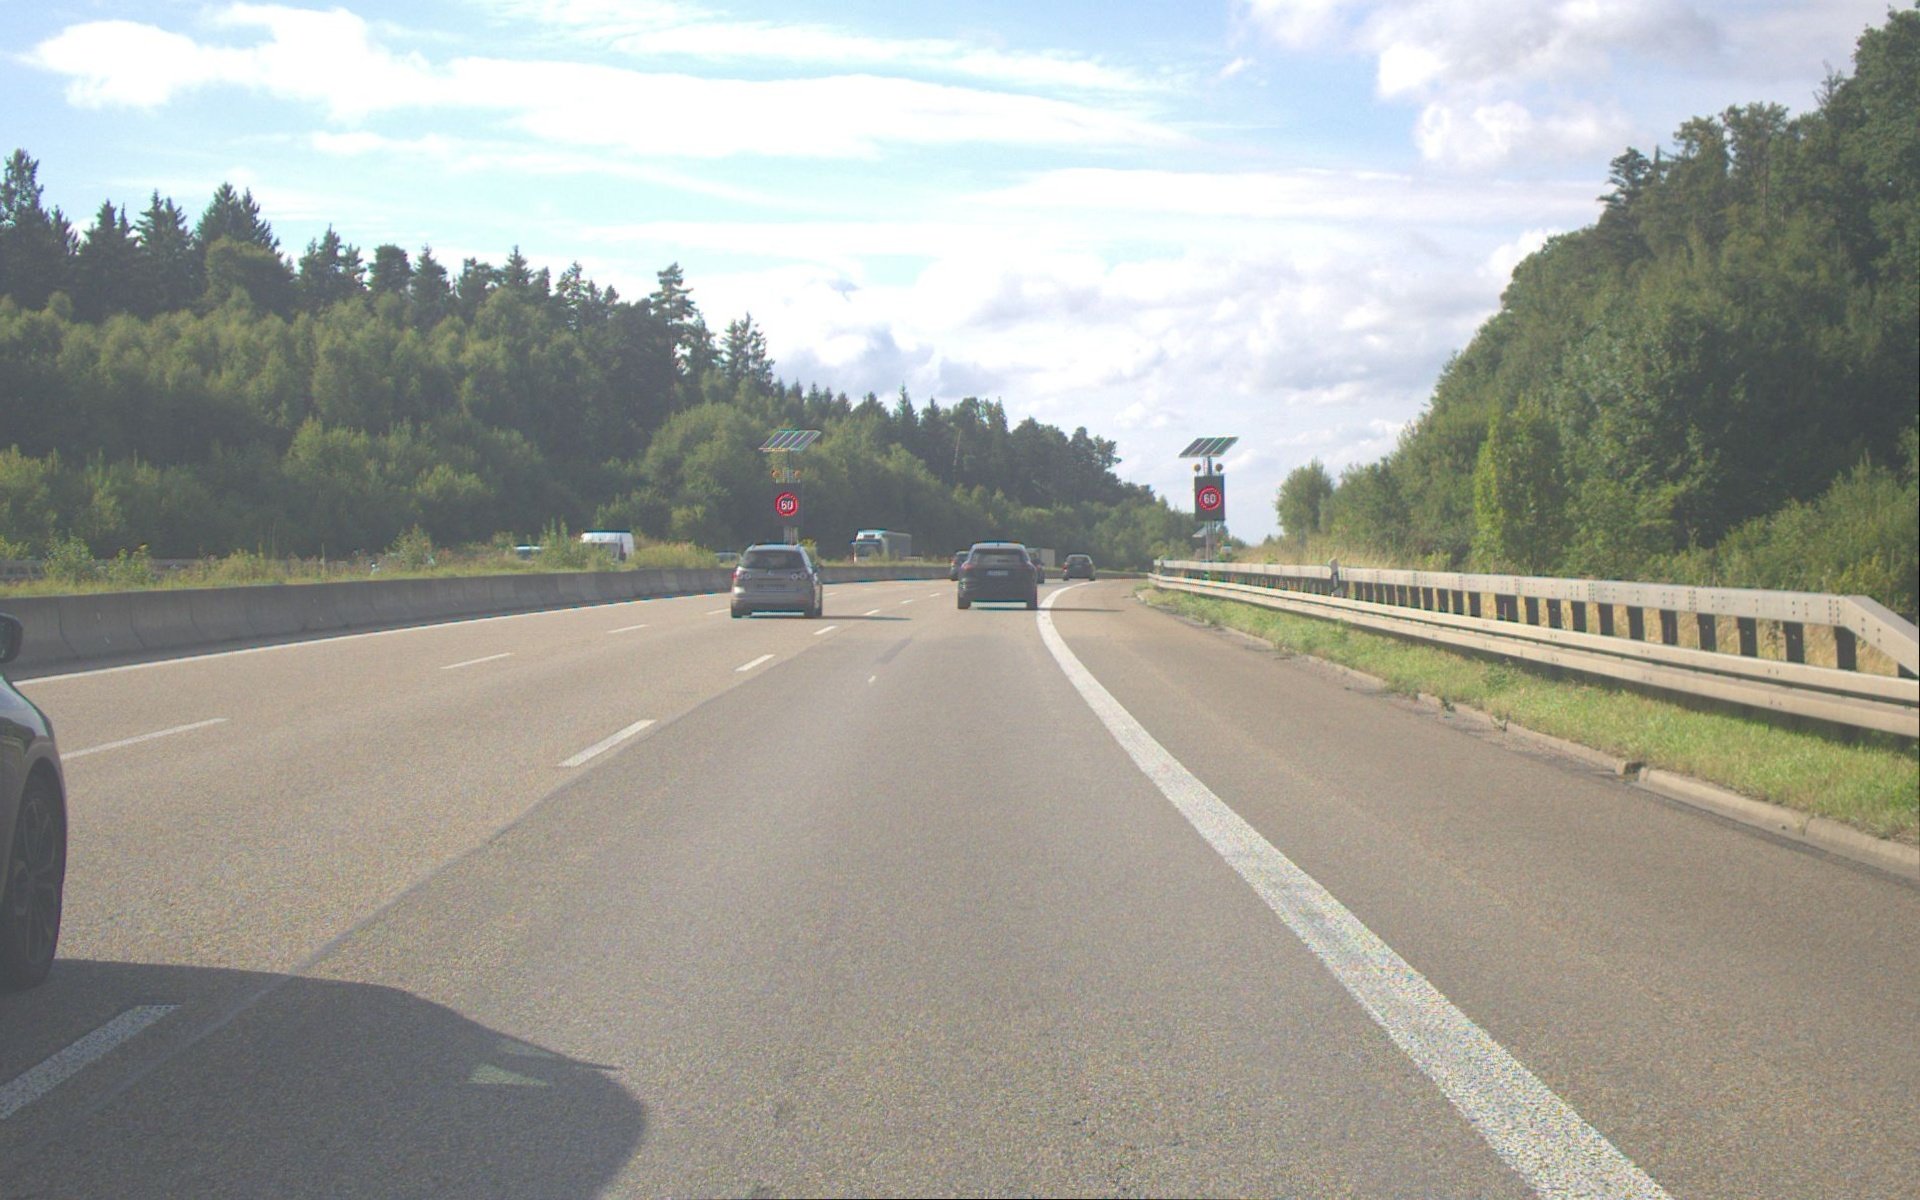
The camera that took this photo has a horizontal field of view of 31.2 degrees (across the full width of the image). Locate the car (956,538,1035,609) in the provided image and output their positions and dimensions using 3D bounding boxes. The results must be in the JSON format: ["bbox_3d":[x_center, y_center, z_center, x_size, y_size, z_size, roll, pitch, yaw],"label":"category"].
[{"bbox_3d":[0.862,-0.672,84.564,1.873,1.669,3.890,0,1,0],"label":"car"}]

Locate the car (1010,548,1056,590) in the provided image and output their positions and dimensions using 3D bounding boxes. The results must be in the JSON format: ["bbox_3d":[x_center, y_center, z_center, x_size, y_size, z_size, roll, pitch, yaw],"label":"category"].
[{"bbox_3d":[3.578,-1.527,168.967,1.993,2.007,4.001,1,1,-2],"label":"car"}]

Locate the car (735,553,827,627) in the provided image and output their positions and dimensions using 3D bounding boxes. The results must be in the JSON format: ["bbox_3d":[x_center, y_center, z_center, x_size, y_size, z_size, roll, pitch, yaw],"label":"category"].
[{"bbox_3d":[-3.789,-0.238,73.374,1.873,1.492,3.880,0,1,-2],"label":"car"}]

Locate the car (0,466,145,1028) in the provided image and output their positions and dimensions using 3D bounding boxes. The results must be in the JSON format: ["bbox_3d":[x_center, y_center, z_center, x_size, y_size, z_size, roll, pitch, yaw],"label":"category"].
[{"bbox_3d":[-3.893,0.444,10.105,1.993,1.701,4.529,0,1,-1],"label":"car"}]

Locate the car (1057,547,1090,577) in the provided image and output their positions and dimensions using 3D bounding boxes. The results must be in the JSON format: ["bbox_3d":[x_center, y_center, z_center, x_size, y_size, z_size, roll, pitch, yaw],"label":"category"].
[{"bbox_3d":[6.640,-2.254,201.060,1.812,1.700,4.000,0,1,3],"label":"car"}]

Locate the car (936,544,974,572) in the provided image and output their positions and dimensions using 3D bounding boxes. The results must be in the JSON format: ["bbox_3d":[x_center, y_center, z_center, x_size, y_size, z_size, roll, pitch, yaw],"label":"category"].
[{"bbox_3d":[-0.254,-2.364,192.694,1.874,1.492,3.879,1,1,4],"label":"car"}]
